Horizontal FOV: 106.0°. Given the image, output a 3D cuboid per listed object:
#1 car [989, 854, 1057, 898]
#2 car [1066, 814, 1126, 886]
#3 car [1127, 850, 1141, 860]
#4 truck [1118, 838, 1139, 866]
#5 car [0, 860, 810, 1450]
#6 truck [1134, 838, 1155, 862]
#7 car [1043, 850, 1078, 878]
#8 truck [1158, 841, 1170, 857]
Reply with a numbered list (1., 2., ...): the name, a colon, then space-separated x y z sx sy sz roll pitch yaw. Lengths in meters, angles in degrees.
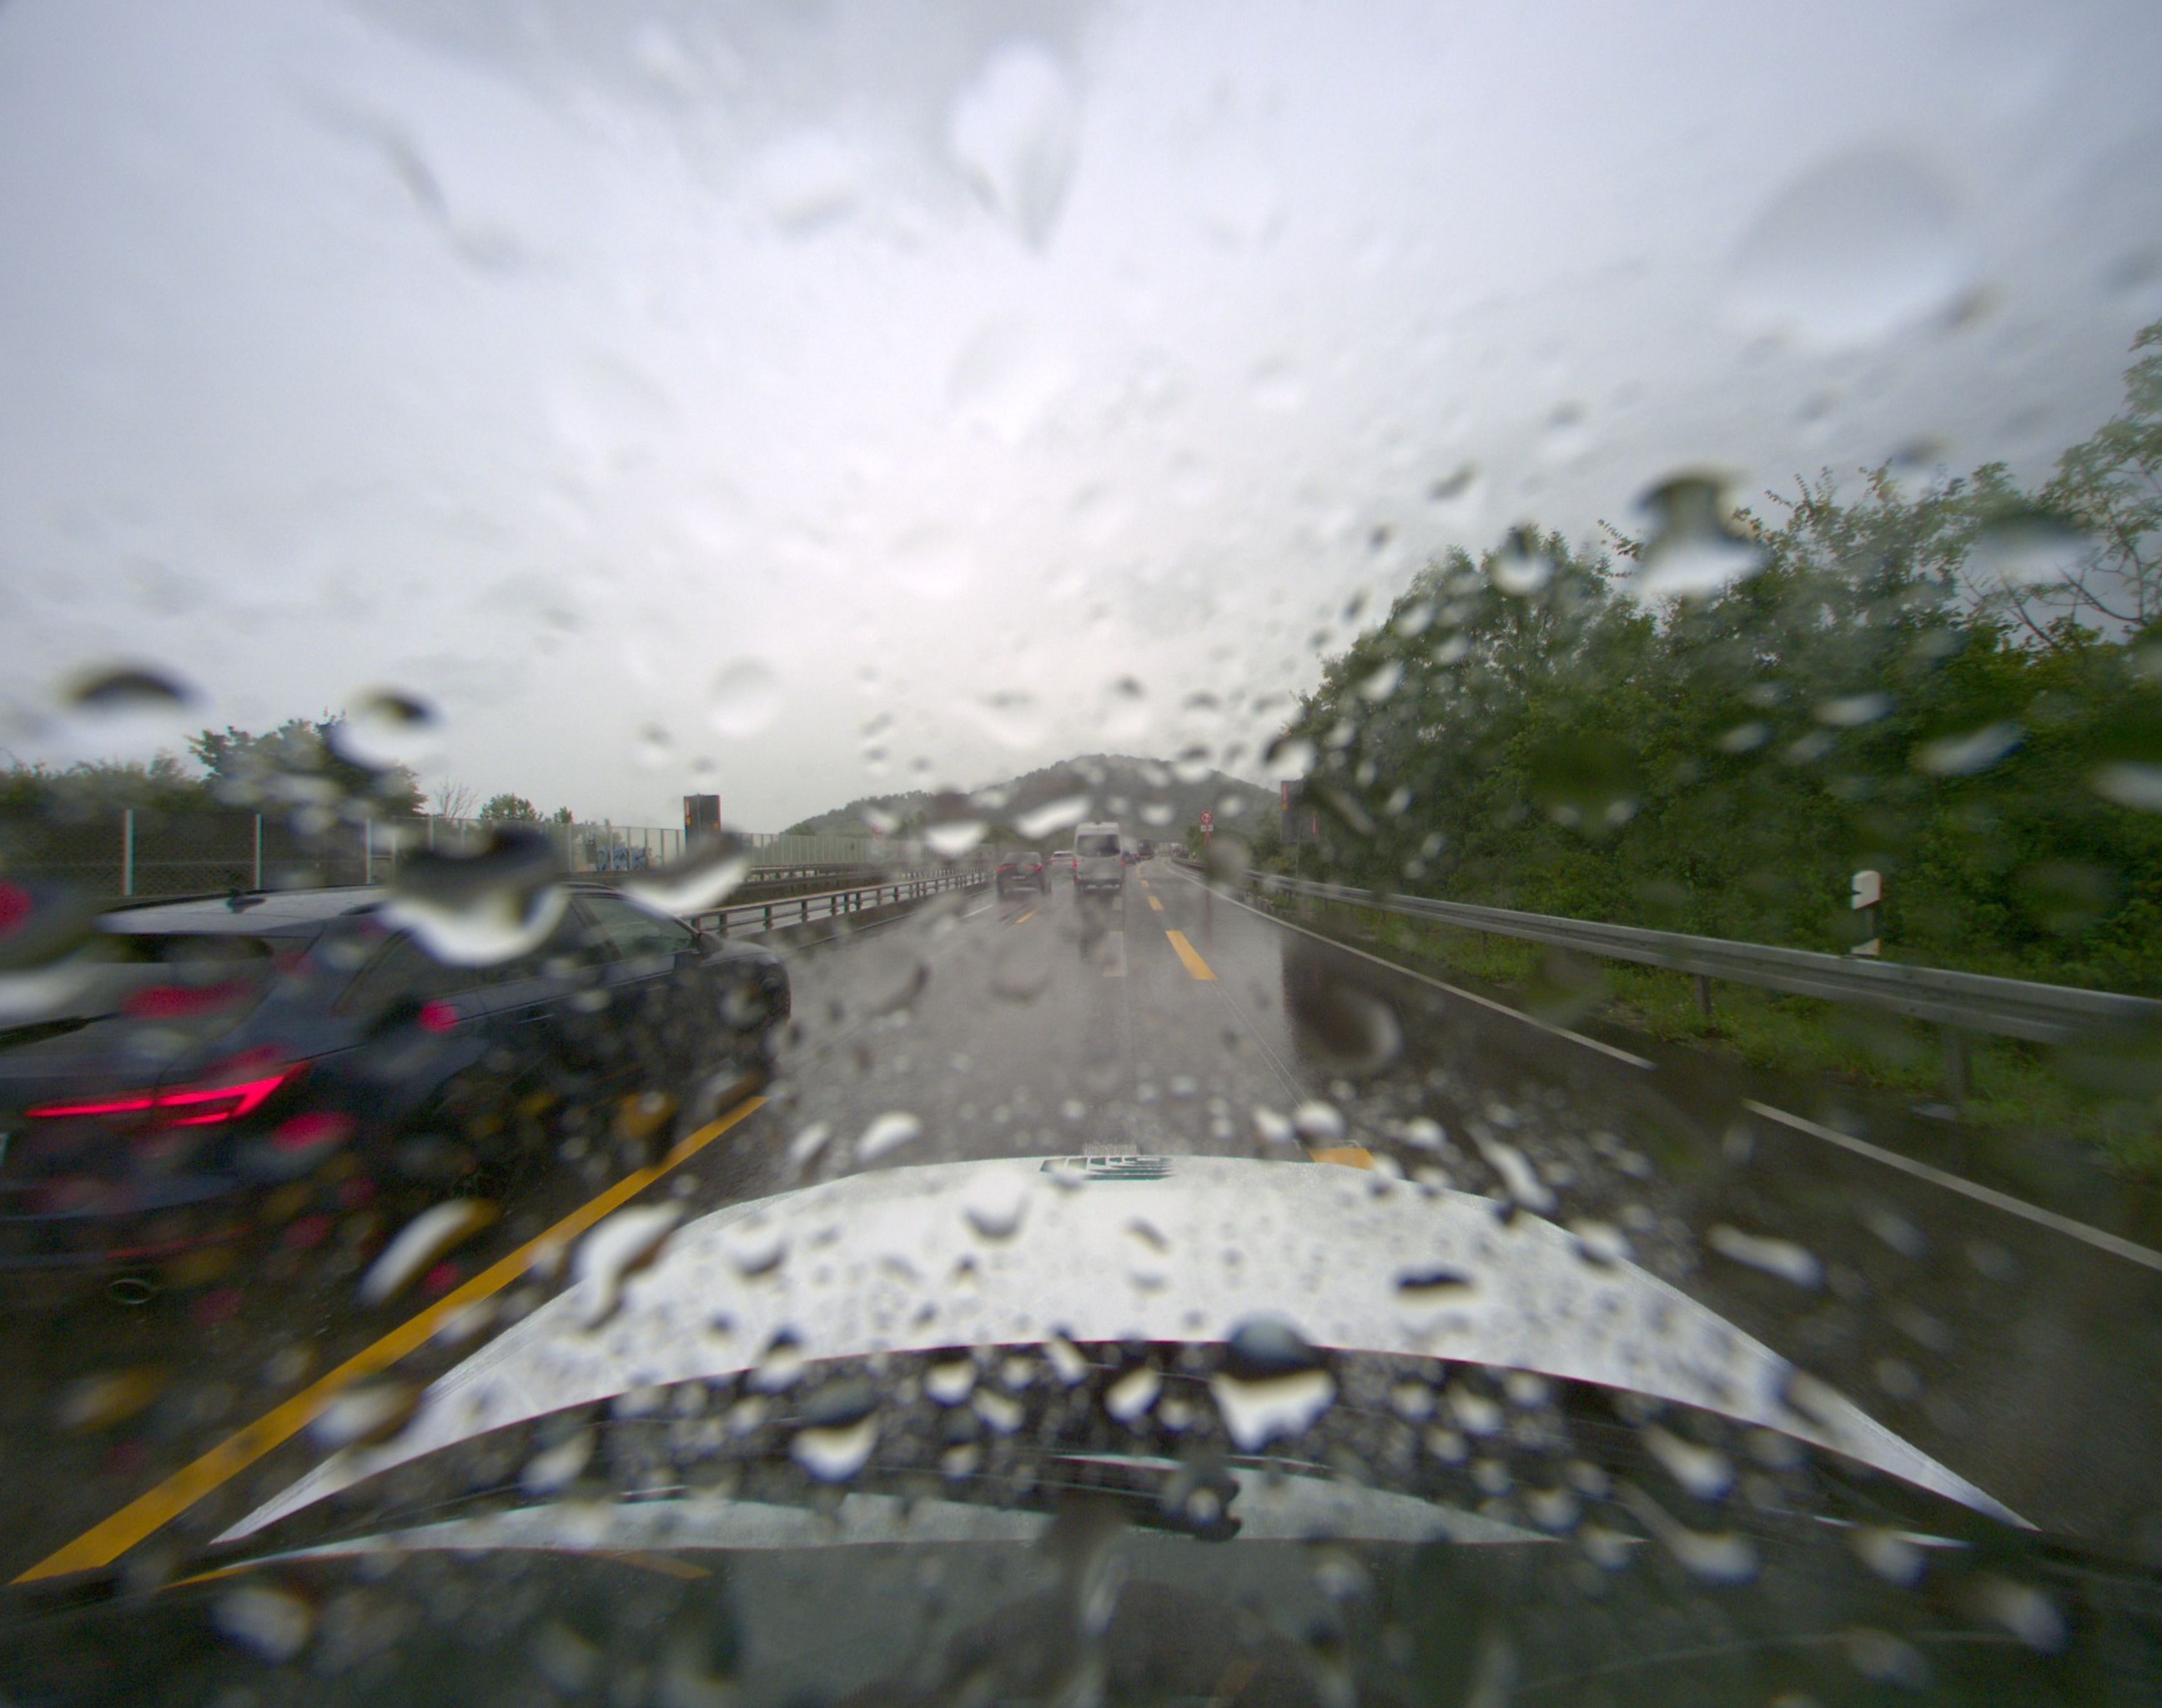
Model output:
1. car: -2.185 0.813 31.858 1.984 1.585 4.419 0 0 4
2. car: 0.632 -0.128 31.946 2.137 2.571 5.392 0 0 2
3. car: 7.543 0.143 115.751 1.765 1.475 4.006 0 0 6
4. truck: 5.679 -0.184 96.143 1.983 3.109 8.514 0 0 7
5. car: -3.321 0.785 4.421 1.986 1.498 4.633 0 0 2
6. truck: 12.232 -0.753 156.067 3.562 4.406 9.643 0 0 7
7. car: -1.201 0.602 49.160 1.987 1.617 4.795 0 0 0
8. truck: 23.818 -1.338 232.178 3.019 4.406 9.645 0 0 8
